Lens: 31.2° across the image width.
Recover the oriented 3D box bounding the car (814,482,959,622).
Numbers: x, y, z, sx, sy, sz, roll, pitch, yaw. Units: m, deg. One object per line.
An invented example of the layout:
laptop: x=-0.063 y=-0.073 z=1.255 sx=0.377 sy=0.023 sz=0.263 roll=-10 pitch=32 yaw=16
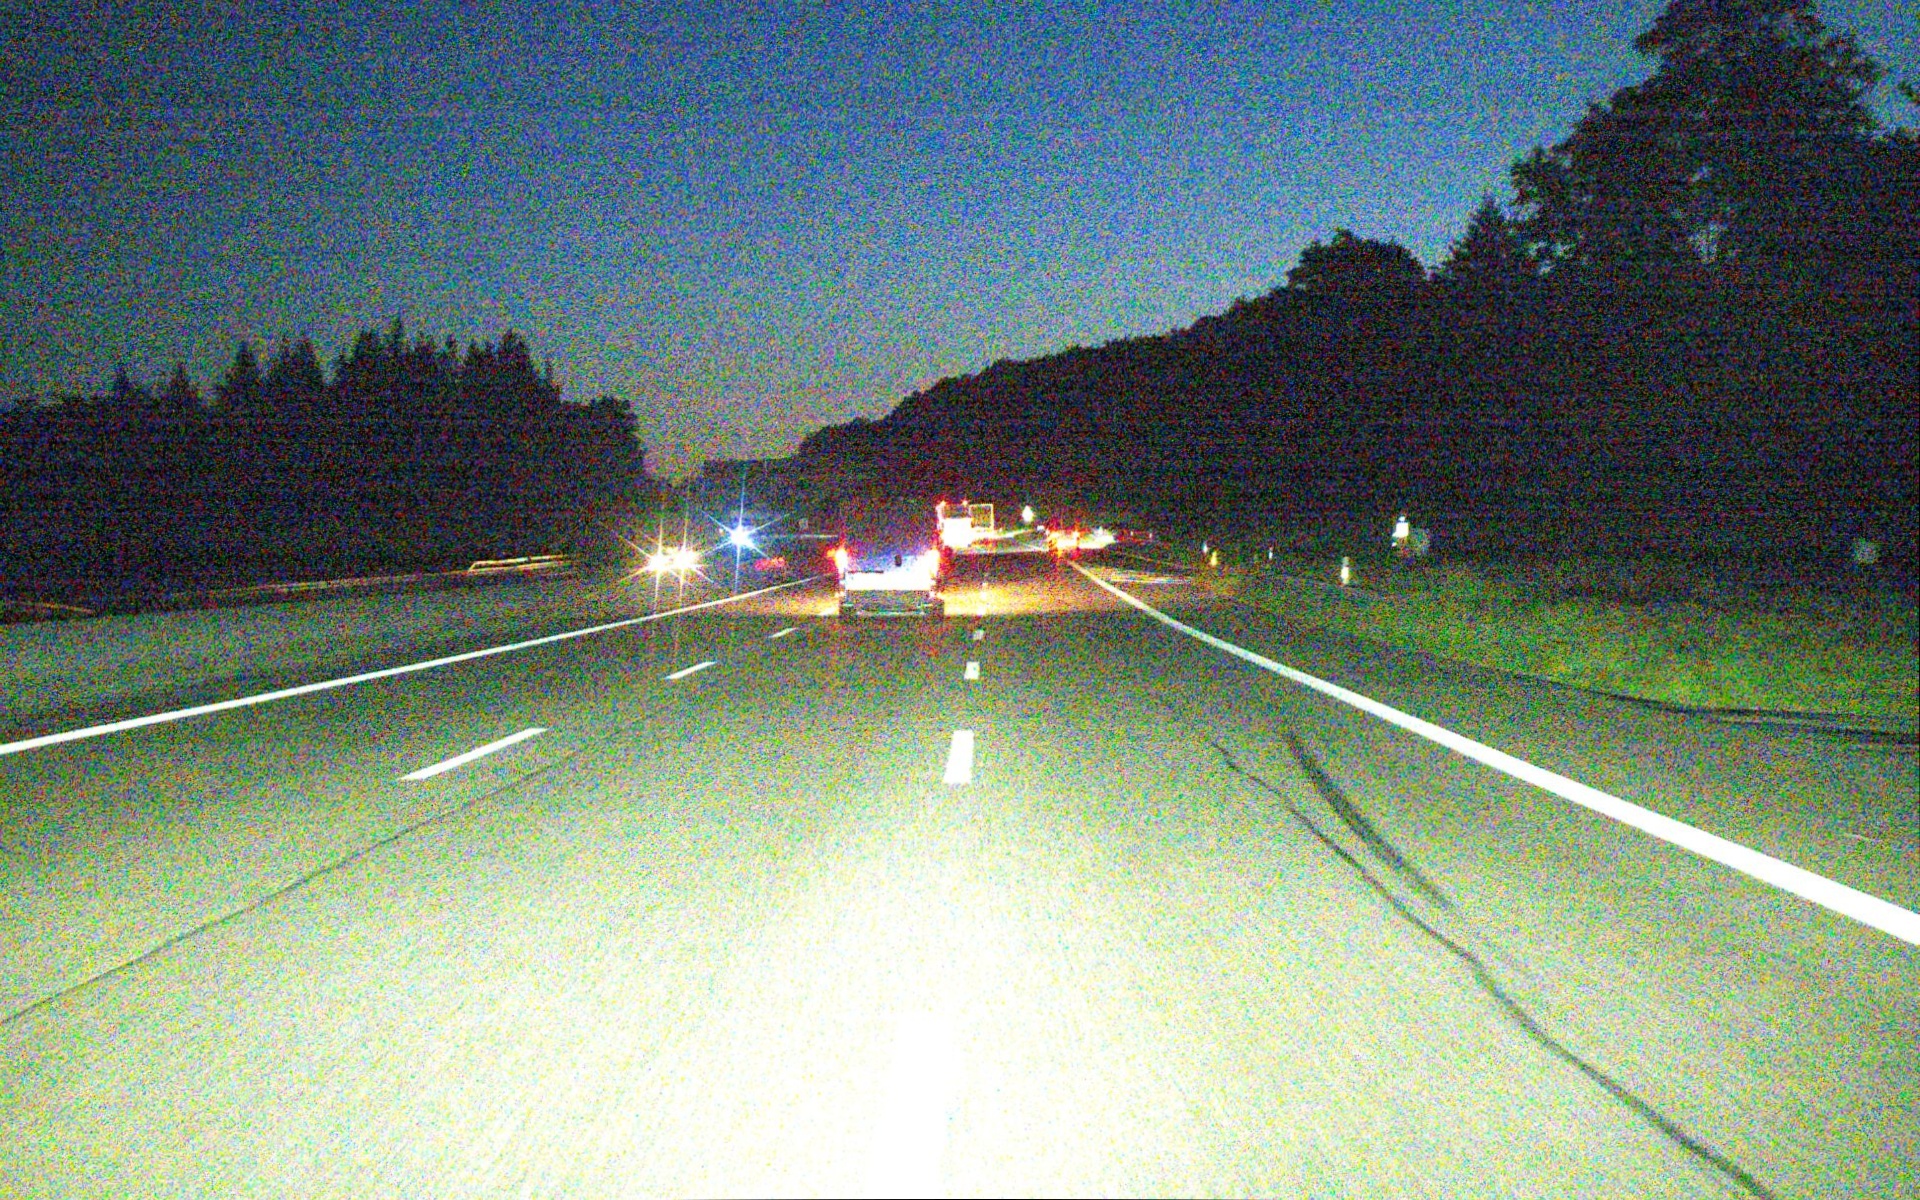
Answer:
car: x=-1.439 y=-0.994 z=70.373 sx=2.786 sy=2.724 sz=6.299 roll=0 pitch=1 yaw=0

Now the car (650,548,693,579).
car: x=-15.679 y=-2.021 z=187.051 sx=1.932 sy=1.599 sz=4.954 roll=-1 pitch=1 yaw=0

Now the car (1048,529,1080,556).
car: x=6.545 y=-3.630 z=215.996 sx=1.843 sy=1.634 sz=4.000 roll=-1 pitch=2 yaw=0
